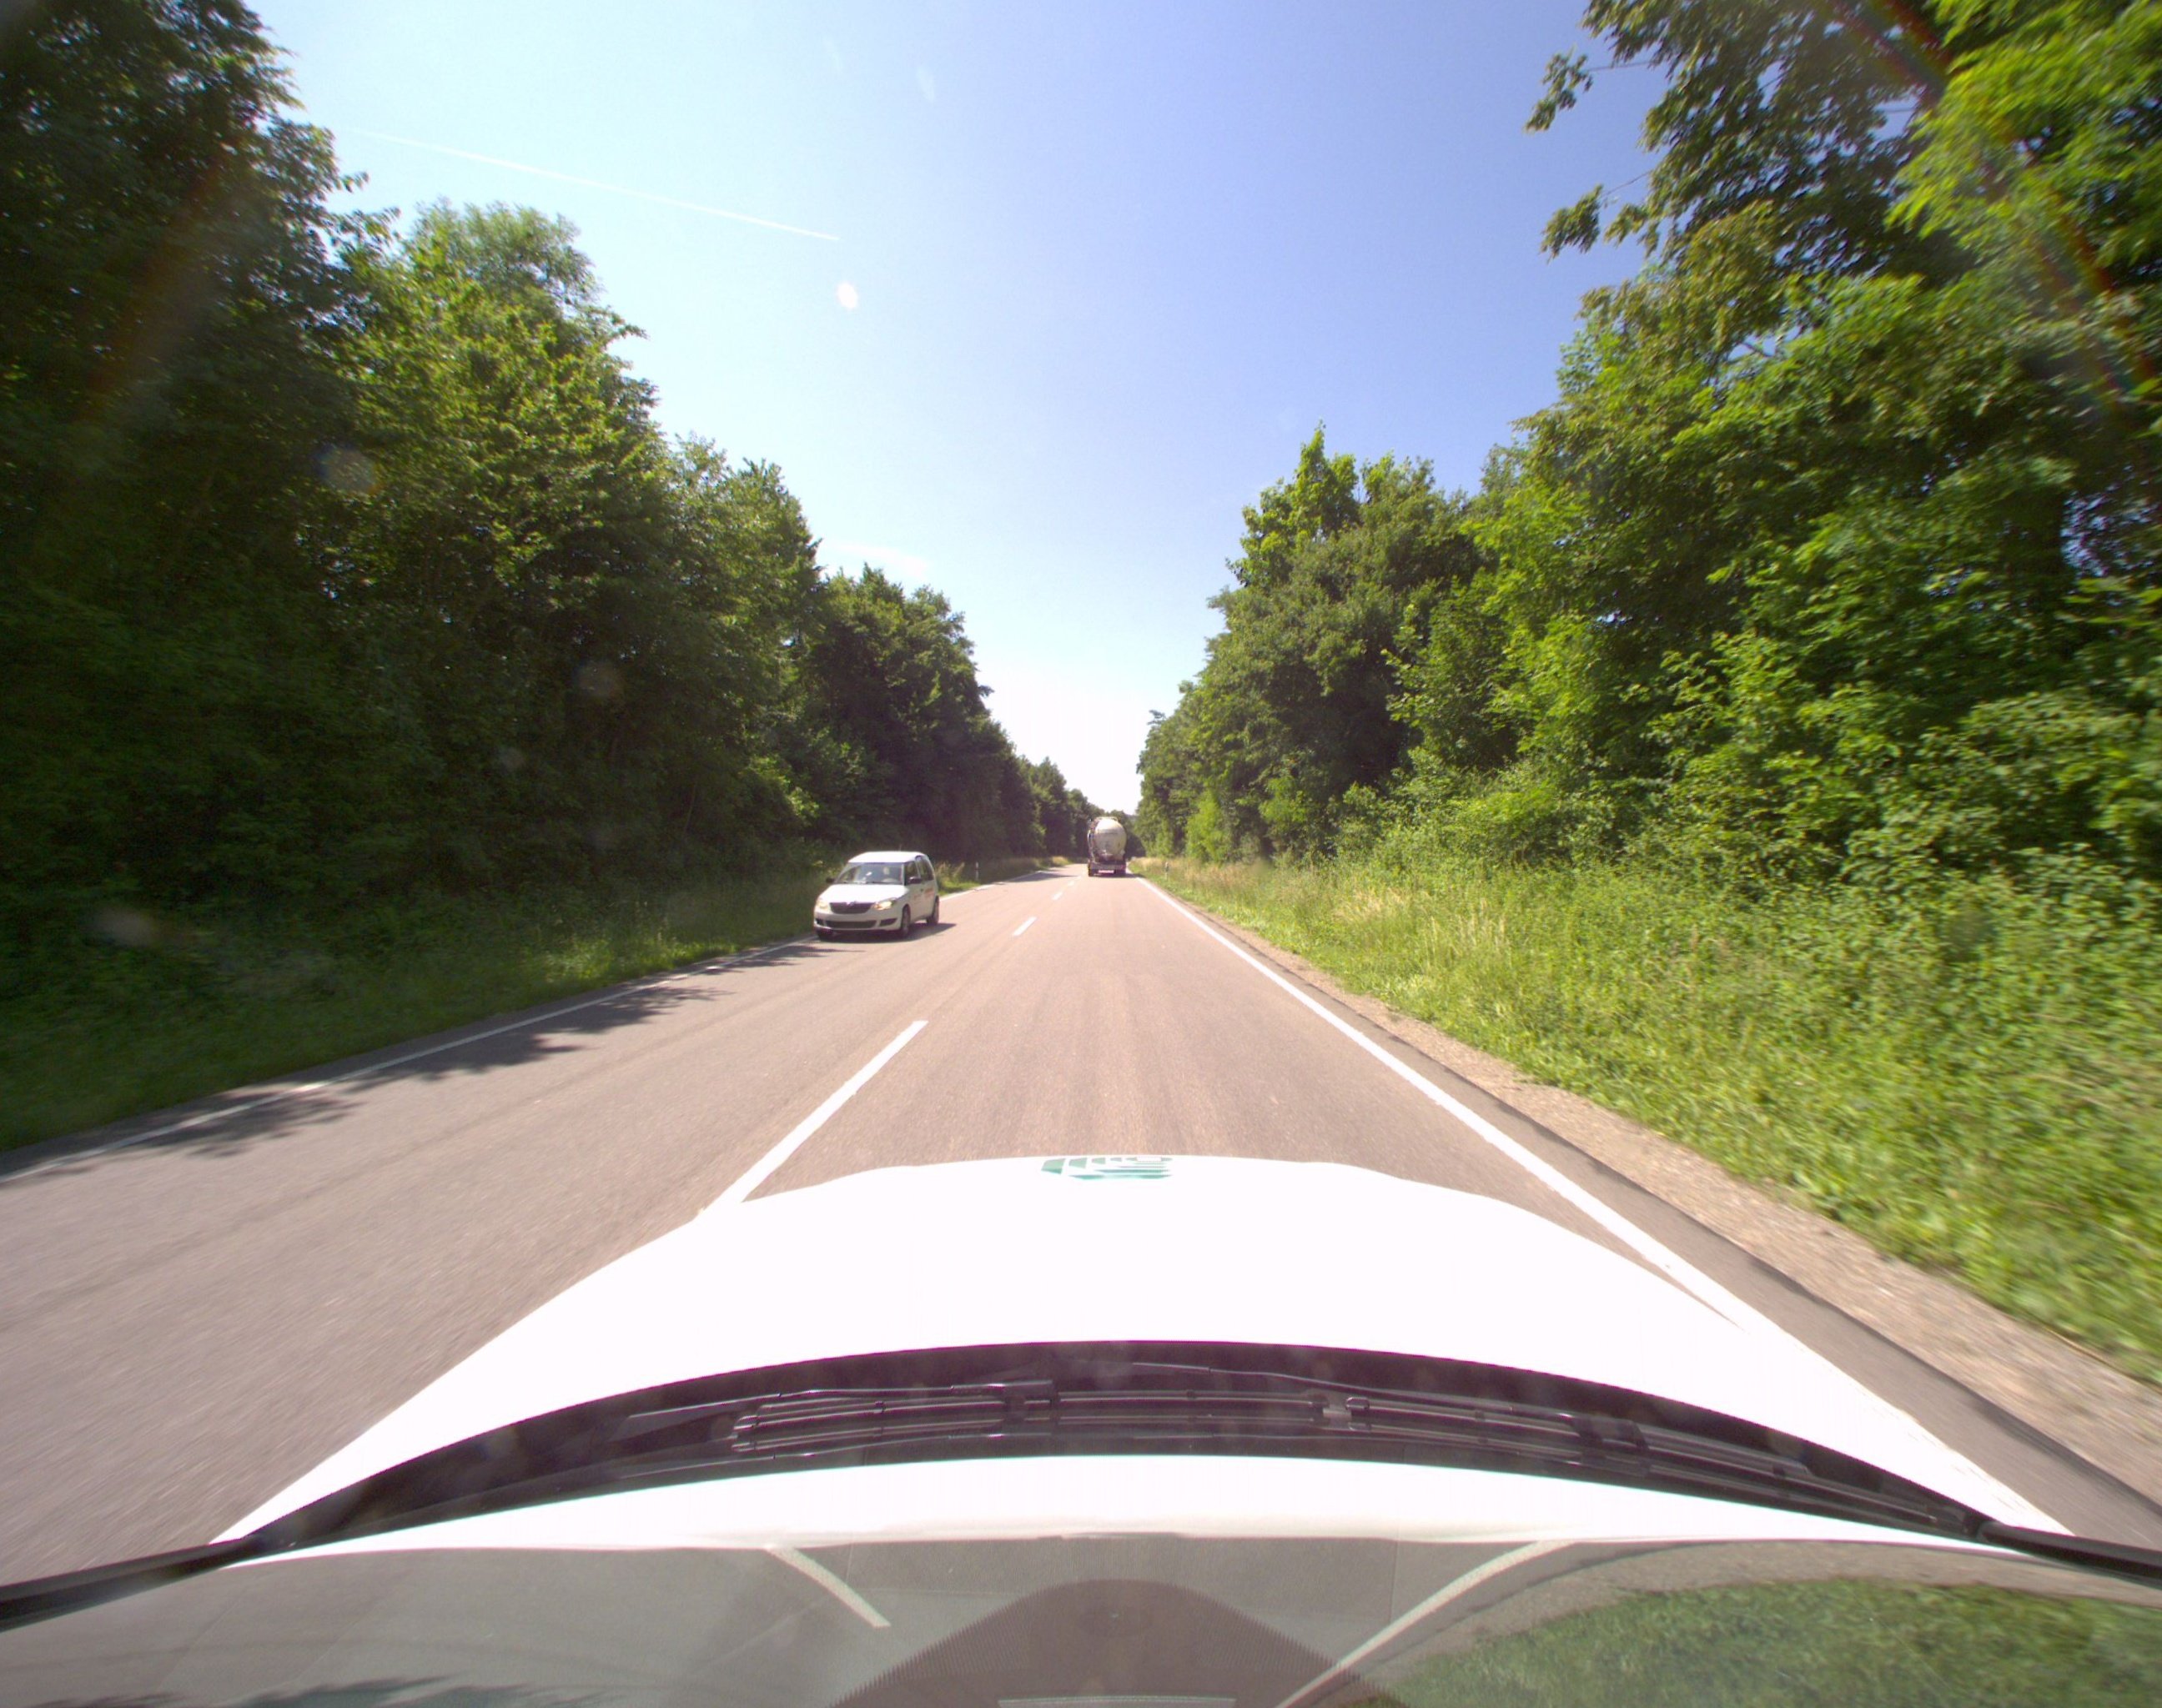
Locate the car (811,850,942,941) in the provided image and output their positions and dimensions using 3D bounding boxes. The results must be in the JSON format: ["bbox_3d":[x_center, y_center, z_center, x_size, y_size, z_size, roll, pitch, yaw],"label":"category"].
[{"bbox_3d":[-3.928,0.731,16.240,1.507,1.592,3.795,-1,0,2],"label":"car"}]

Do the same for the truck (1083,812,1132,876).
[{"bbox_3d":[1.921,-0.606,59.671,3.038,3.998,15.641,1,0,2],"label":"truck"}]
